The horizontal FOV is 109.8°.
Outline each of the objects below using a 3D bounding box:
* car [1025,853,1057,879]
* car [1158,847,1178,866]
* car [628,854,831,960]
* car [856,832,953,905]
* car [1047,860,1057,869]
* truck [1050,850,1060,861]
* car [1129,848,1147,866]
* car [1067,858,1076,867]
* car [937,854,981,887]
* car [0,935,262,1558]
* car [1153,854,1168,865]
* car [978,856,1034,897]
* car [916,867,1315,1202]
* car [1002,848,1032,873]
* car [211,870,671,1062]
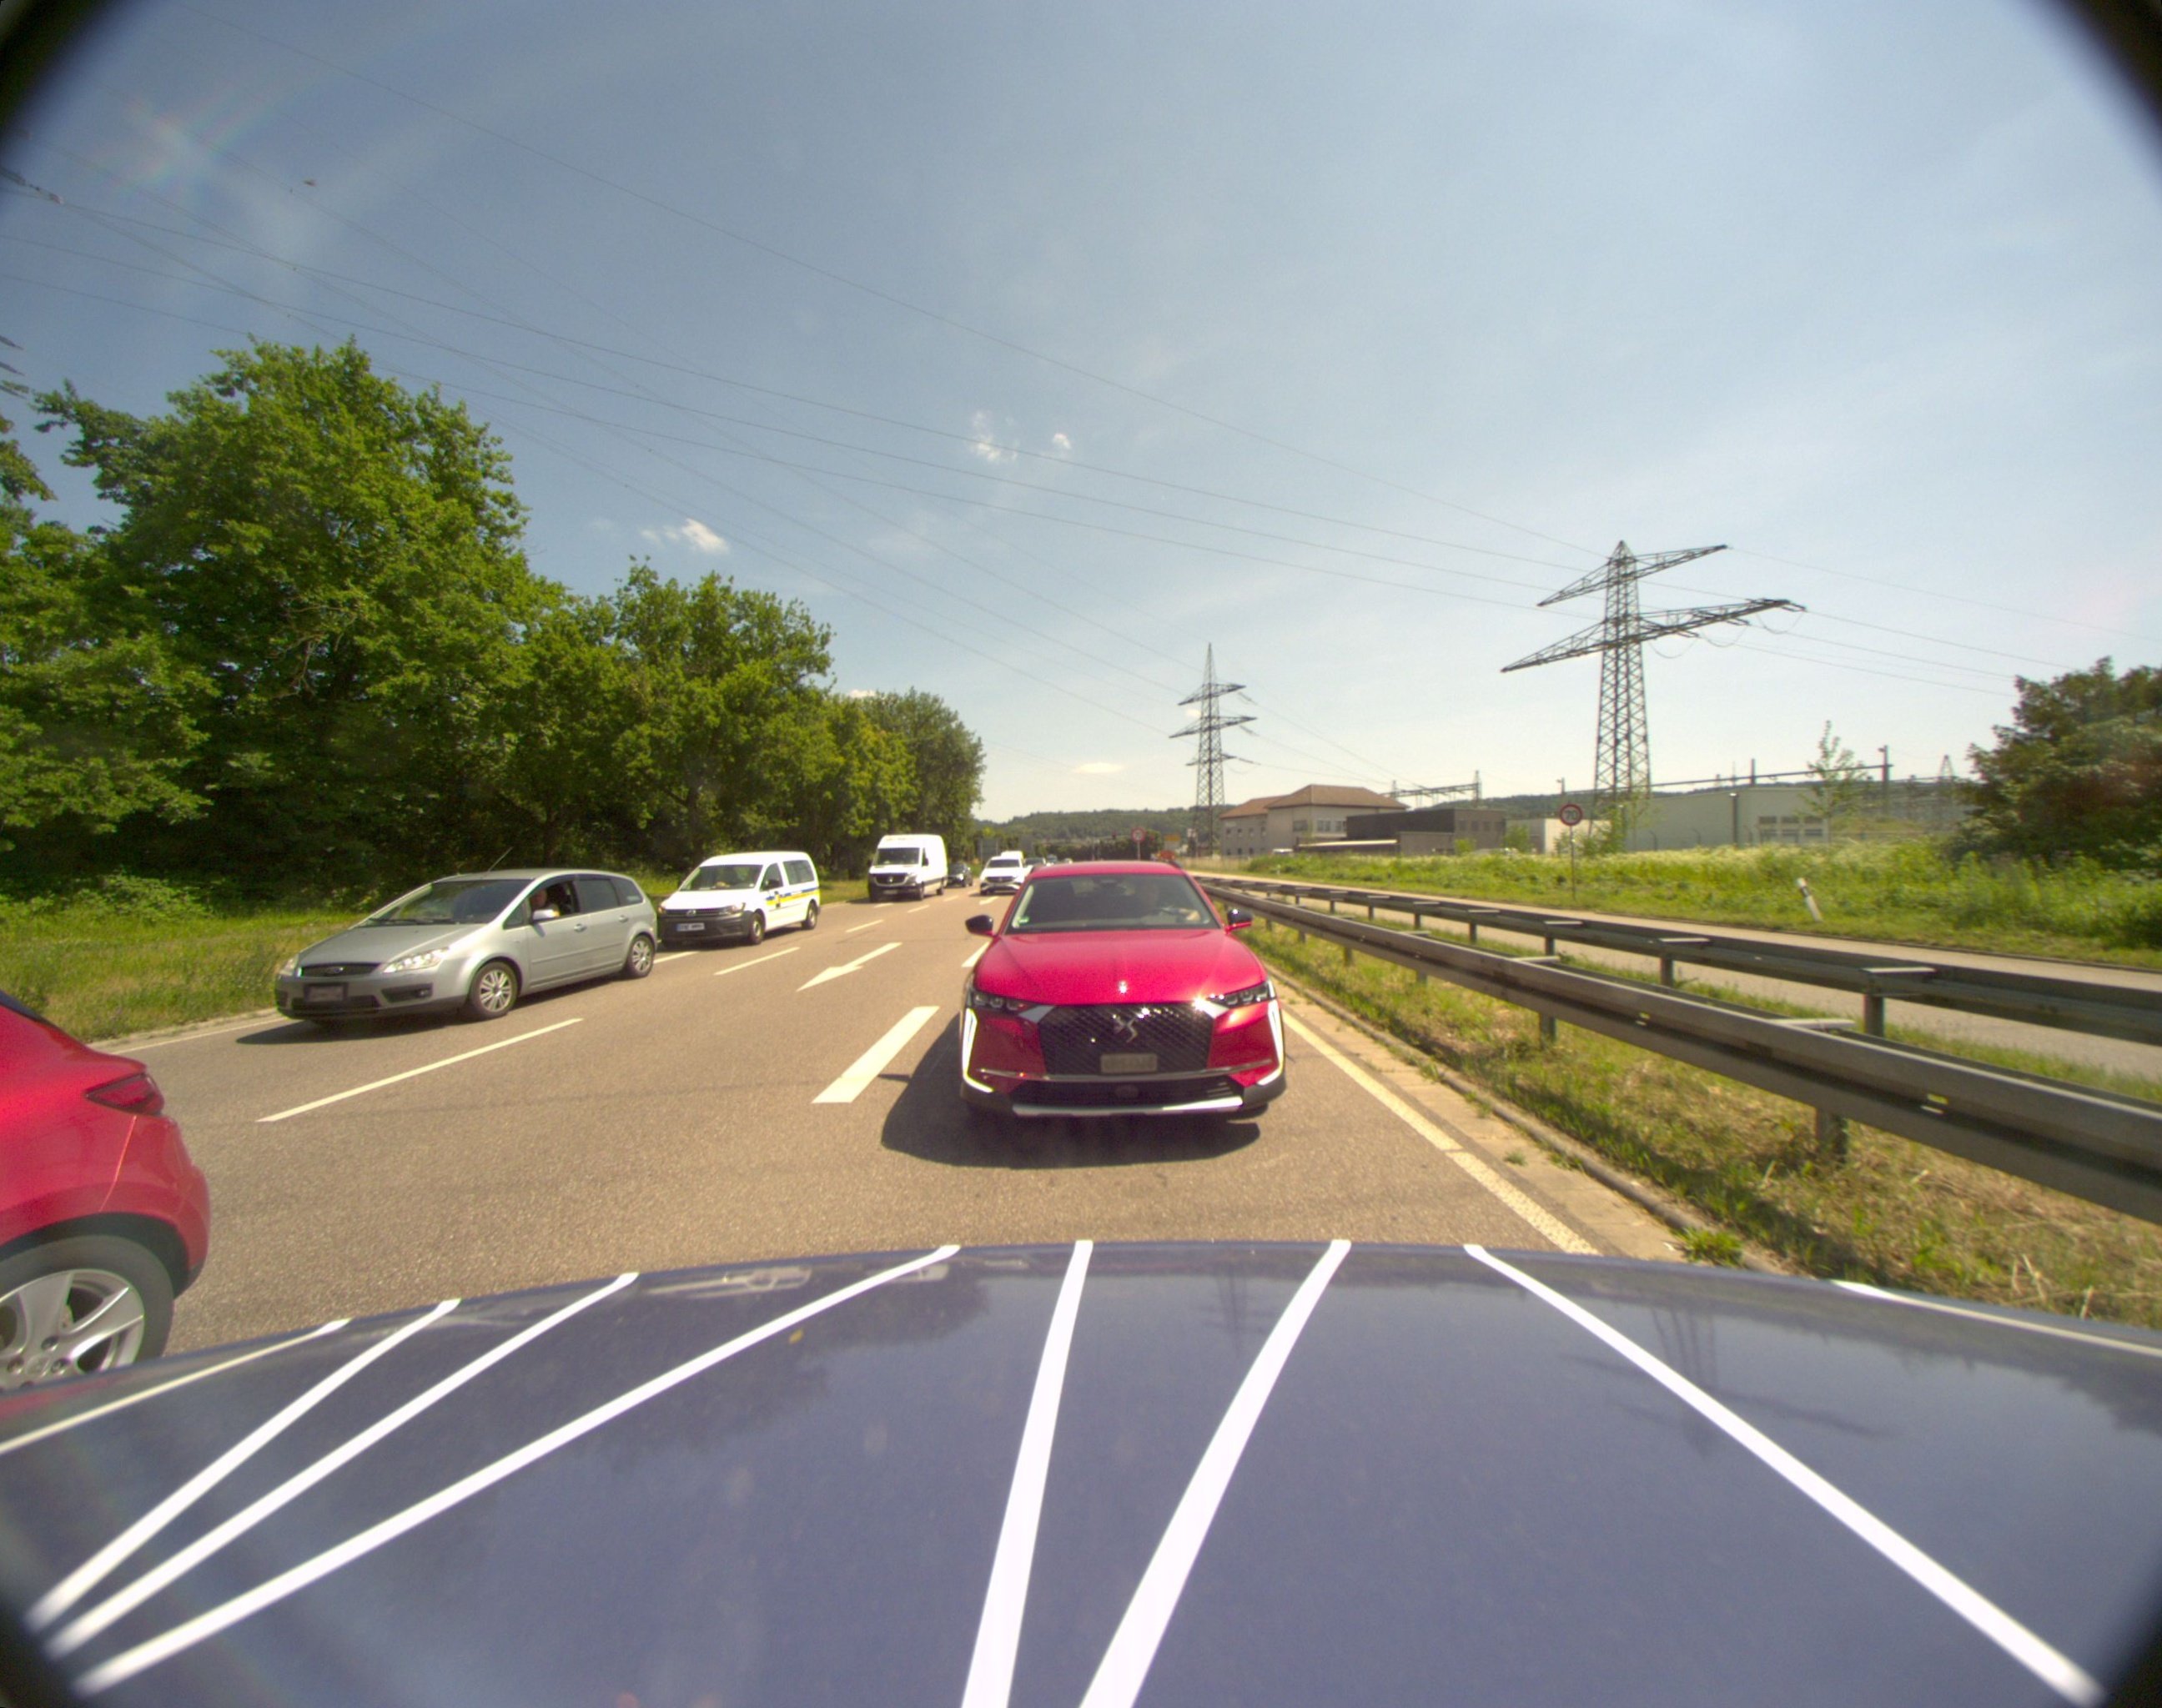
[{"bbox_3d":[-2.721,0.822,52.787,2.022,1.671,3.999,-2,0,-1],"label":"car"},{"bbox_3d":[14.389,0.388,125.767,2.607,3.043,5.638,0,0,0],"label":"car"},{"bbox_3d":[-6.978,0.921,15.828,1.809,1.790,5.037,-2,0,0],"label":"car"},{"bbox_3d":[-6.992,0.521,31.085,2.232,2.592,7.018,-2,0,0],"label":"car"},{"bbox_3d":[-5.918,2.123,156.061,1.878,1.674,3.998,-2,1,-2],"label":"car"},{"bbox_3d":[-6.326,0.378,185.837,2.170,2.428,4.909,-2,1,-2],"label":"truck"},{"bbox_3d":[9.702,0.437,130.102,2.607,3.043,5.638,0,0,0],"label":"car"},{"bbox_3d":[-2.089,1.854,162.845,1.878,1.674,3.998,-2,1,-2],"label":"car"},{"bbox_3d":[-6.901,0.920,43.319,1.878,1.674,3.998,-2,1,-2],"label":"car"},{"bbox_3d":[-3.533,1.015,0.390,1.747,1.453,4.065,-2,0,0],"label":"car"},{"bbox_3d":[14.093,0.929,135.524,1.999,1.904,3.998,-2,1,-3],"label":"car"},{"bbox_3d":[-3.113,0.896,32.464,1.850,1.559,4.363,-2,0,1],"label":"car"},{"bbox_3d":[0.191,0.902,5.819,1.846,1.453,4.414,-2,0,1],"label":"car"},{"bbox_3d":[-6.513,0.611,78.020,2.308,2.408,5.814,-2,0,1],"label":"car"},{"bbox_3d":[-6.956,1.063,9.026,1.747,1.585,4.272,-2,0,1],"label":"car"}]
